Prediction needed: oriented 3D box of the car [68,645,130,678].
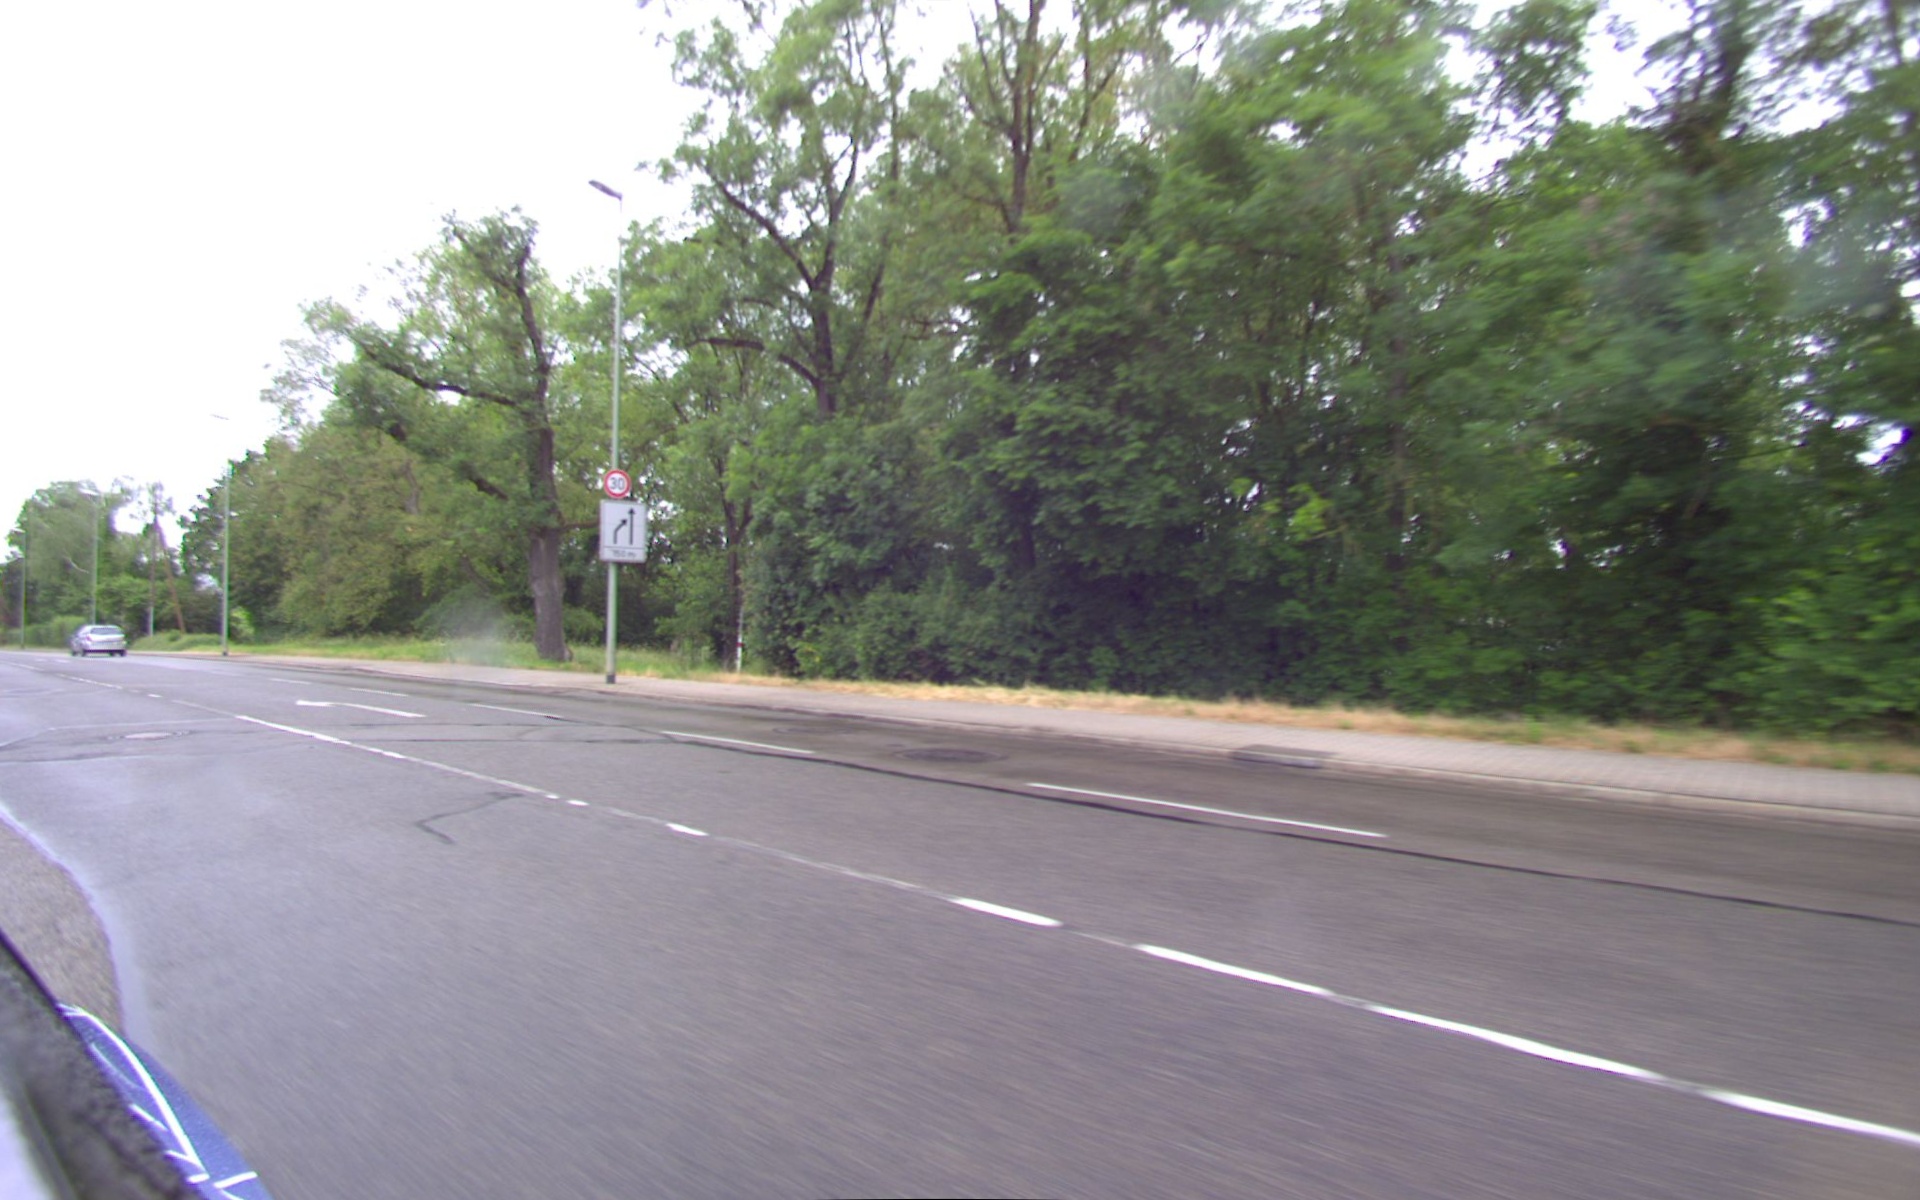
[{"bbox_3d":[-41.886,2.970,49.192,4.450,1.494,1.671,-2,-4,42],"label":"car"}]
